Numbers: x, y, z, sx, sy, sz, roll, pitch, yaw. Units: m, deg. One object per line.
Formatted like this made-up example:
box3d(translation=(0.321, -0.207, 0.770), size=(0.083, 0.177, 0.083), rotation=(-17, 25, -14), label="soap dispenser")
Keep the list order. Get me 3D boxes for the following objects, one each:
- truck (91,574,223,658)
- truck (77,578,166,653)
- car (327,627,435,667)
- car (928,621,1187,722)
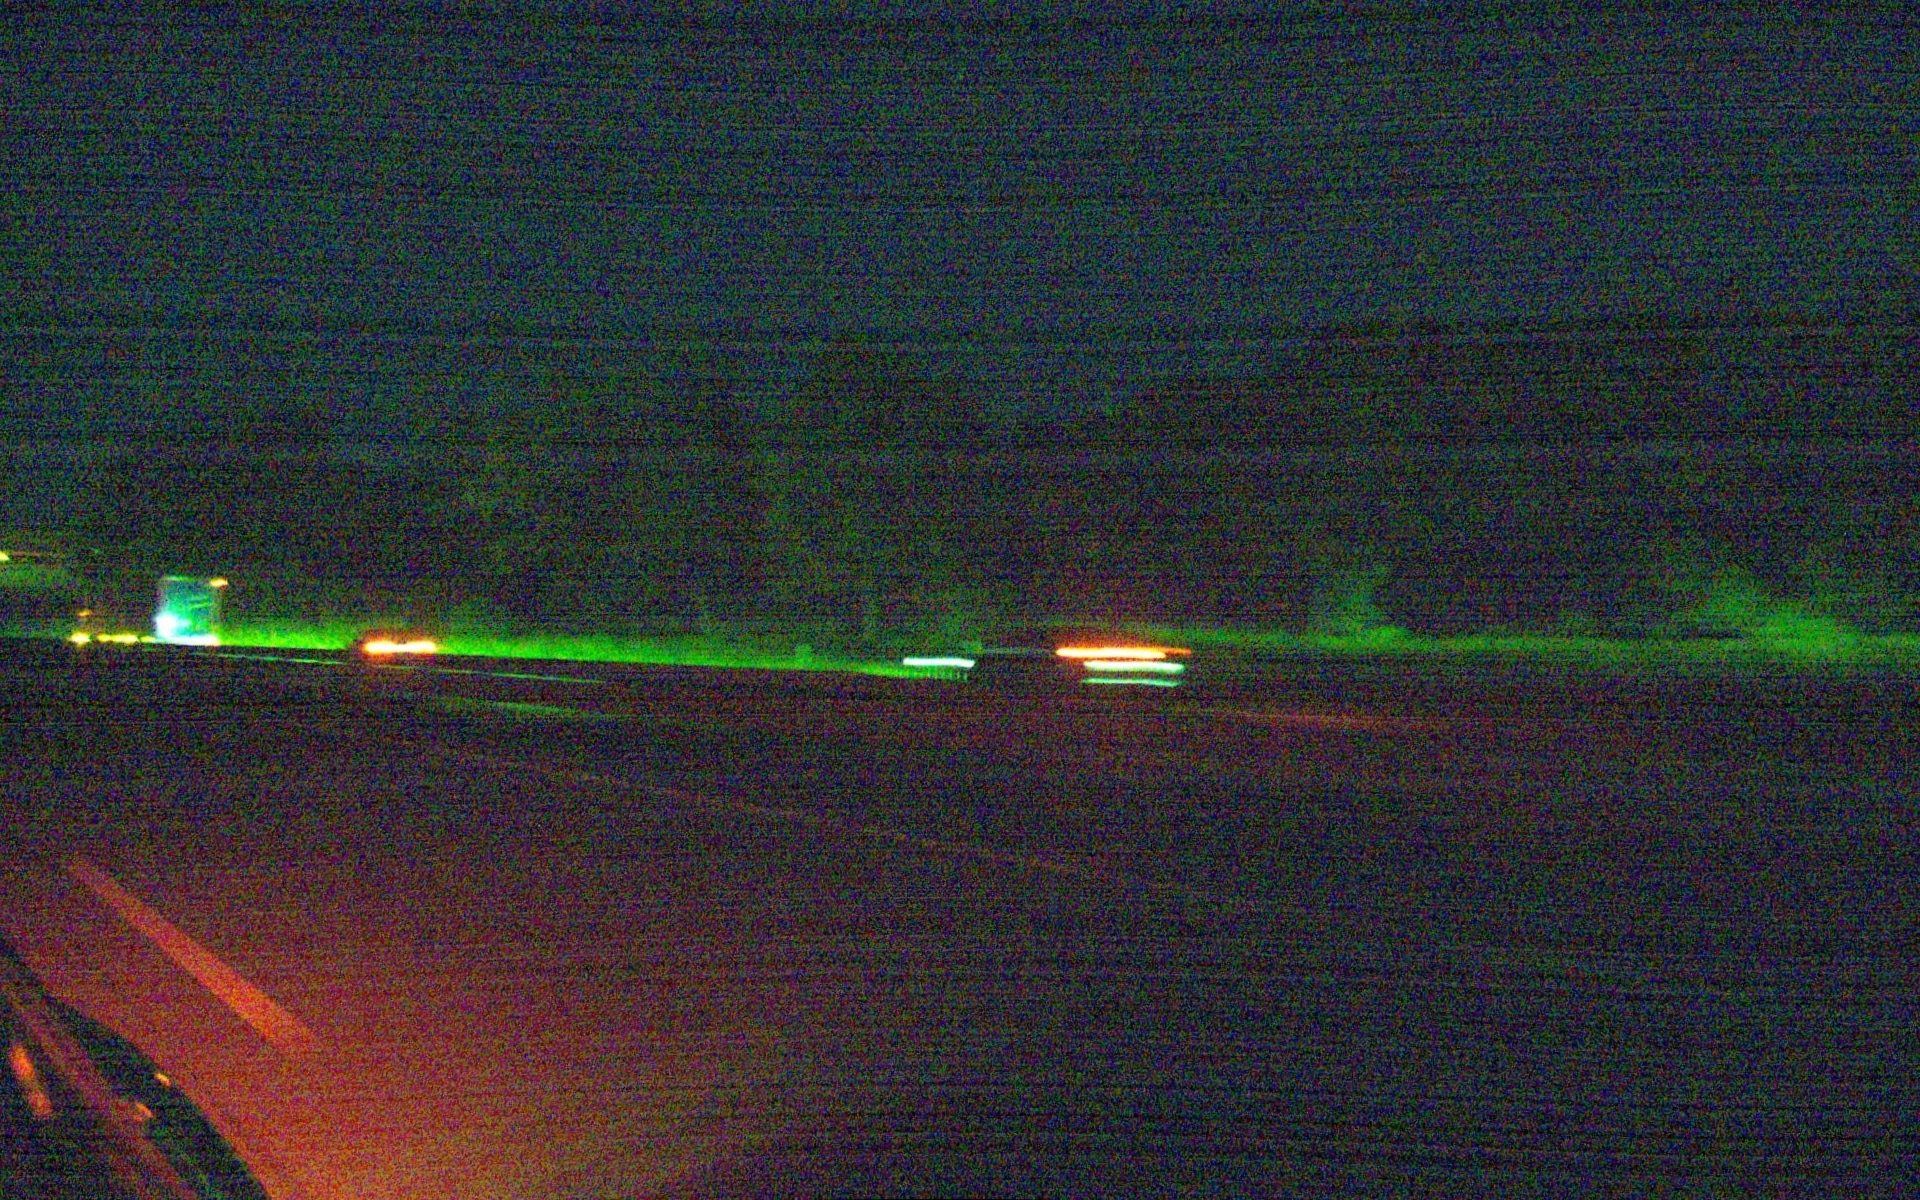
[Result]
box3d(translation=(-44.453, 0.901, 55.750), size=(13.893, 4.159, 2.719), rotation=(-1, -1, 39), label="truck")
box3d(translation=(-49.425, 0.899, 59.597), size=(6.666, 4.175, 2.746), rotation=(-1, -1, 39), label="truck")
box3d(translation=(-19.993, 1.586, 34.890), size=(4.293, 1.281, 1.973), rotation=(-1, -1, 41), label="car")
box3d(translation=(1.654, 1.173, 18.079), size=(4.293, 1.569, 1.973), rotation=(-1, -1, 41), label="car")
